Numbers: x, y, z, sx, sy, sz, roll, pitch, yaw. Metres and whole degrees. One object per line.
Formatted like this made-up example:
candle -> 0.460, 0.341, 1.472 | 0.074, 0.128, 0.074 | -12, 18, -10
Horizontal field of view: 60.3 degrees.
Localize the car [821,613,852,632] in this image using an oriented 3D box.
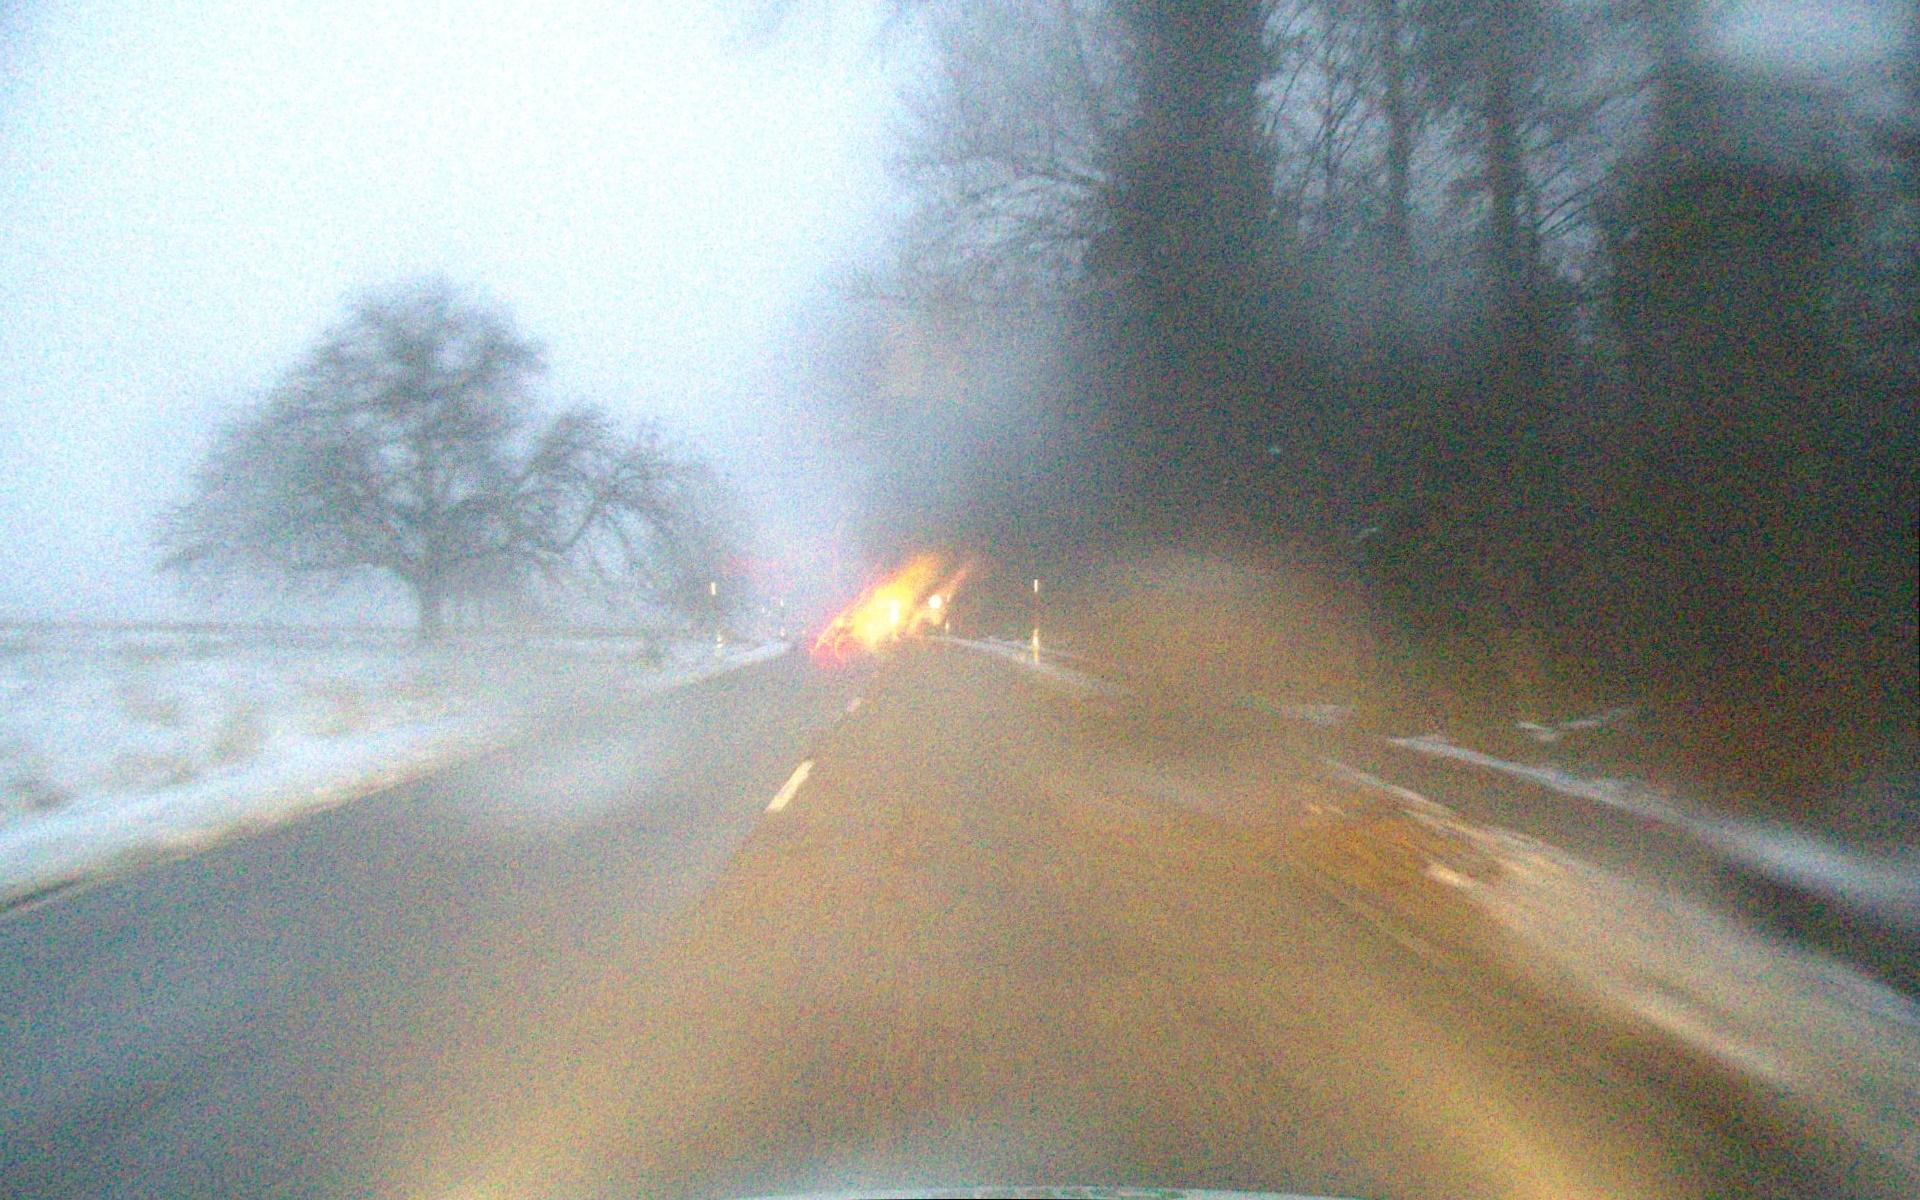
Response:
car -> -8.573, 1.555, 114.862 | 1.883, 1.299, 3.999 | -1, 0, -1
